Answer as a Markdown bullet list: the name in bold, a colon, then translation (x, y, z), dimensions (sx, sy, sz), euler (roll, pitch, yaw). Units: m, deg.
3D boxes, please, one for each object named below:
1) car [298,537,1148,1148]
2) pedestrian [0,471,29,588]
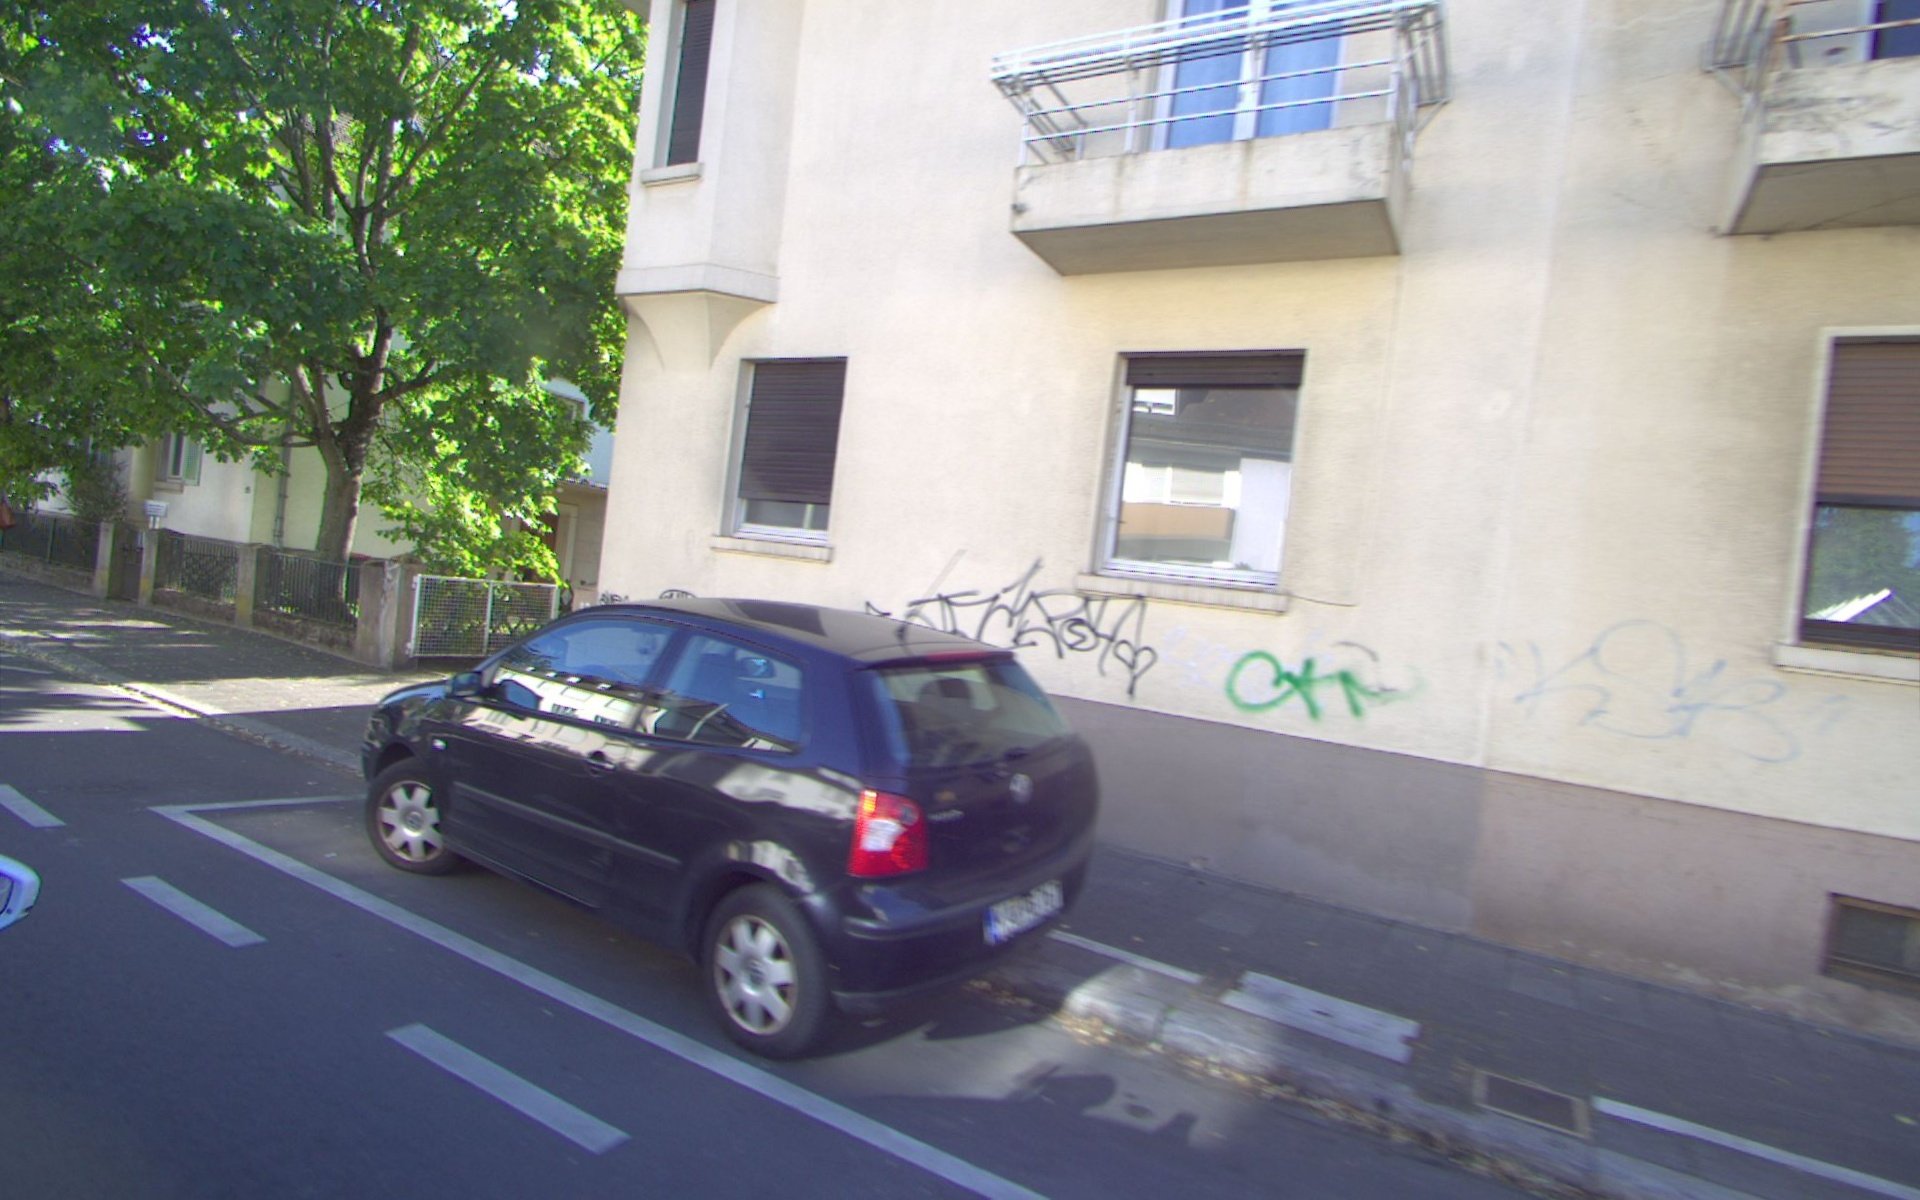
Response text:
- **car**: translation (-1.258, 0.704, 4.671), dimensions (3.711, 1.583, 1.666), euler (6, 0, 35)
- **pedestrian**: translation (-14.555, -1.091, 14.972), dimensions (0.855, 1.710, 0.718), euler (7, 2, 29)
